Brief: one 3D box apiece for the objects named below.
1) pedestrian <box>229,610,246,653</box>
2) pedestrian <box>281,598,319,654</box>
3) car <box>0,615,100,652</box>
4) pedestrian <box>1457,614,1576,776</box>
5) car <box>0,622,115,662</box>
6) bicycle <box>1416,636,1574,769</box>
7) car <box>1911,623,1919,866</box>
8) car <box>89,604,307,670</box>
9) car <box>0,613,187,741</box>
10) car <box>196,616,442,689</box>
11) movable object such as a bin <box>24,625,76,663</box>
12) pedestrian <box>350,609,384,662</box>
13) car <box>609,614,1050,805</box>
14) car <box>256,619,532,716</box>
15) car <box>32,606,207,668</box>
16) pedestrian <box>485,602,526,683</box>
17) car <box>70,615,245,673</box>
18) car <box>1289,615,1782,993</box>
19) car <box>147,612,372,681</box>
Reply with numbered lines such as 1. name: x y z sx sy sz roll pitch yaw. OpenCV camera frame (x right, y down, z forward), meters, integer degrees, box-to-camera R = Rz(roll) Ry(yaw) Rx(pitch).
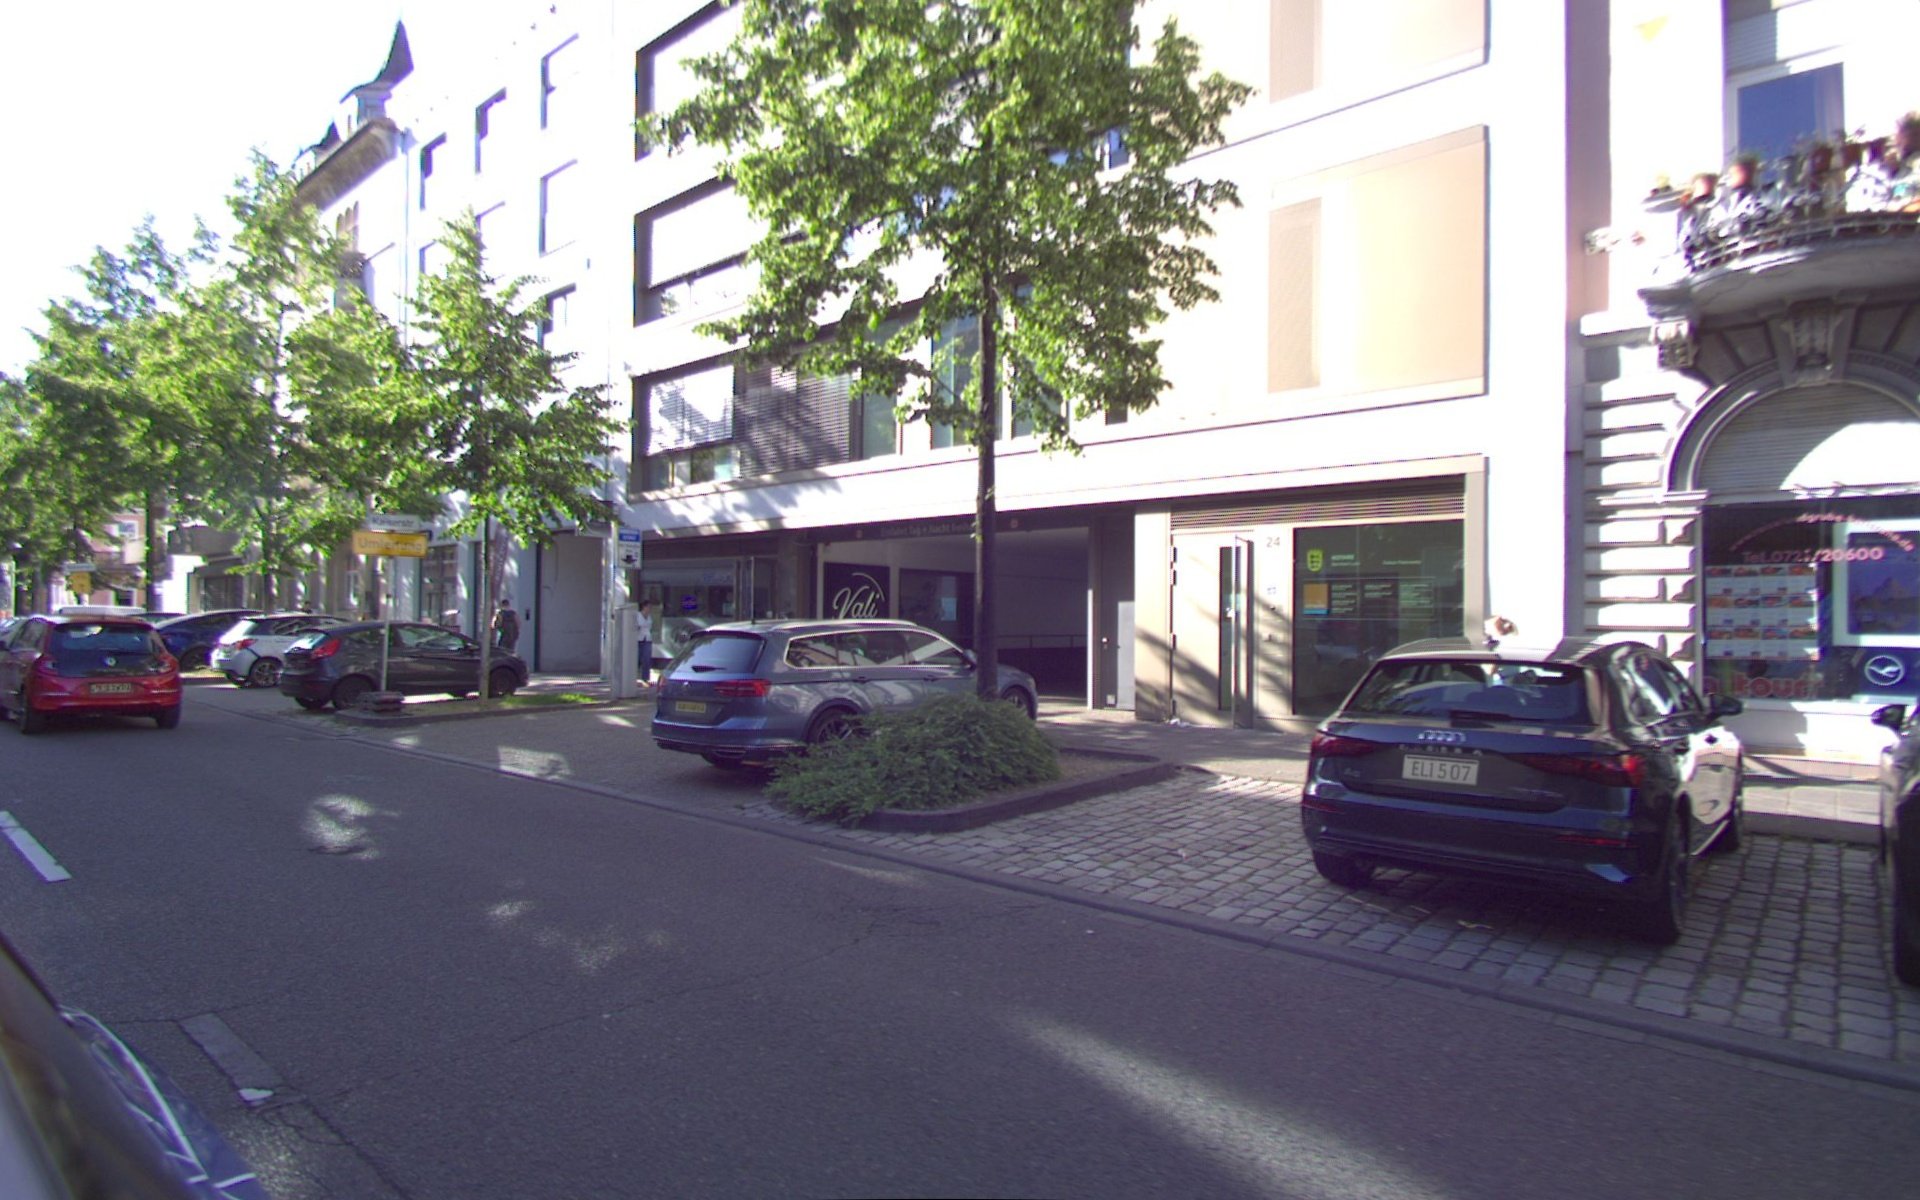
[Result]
1. pedestrian: -28.653 1.259 40.115 0.639 1.684 0.429 -1 -1 43
2. pedestrian: -21.743 0.838 33.345 0.762 1.779 0.767 -1 2 39
3. car: -40.751 1.472 44.749 1.747 1.475 3.957 1 1 40
4. pedestrian: 5.146 0.844 9.374 0.502 1.419 0.825 0 -2 -45
5. car: -36.591 1.653 40.697 1.708 1.475 3.742 -1 -1 38
6. bicycle: 5.290 0.977 10.052 1.298 1.201 0.451 -1 0 44
7. car: 5.496 0.835 4.460 1.789 1.439 3.800 -1 -1 42
8. car: -20.054 0.944 26.779 1.945 1.582 4.321 -1 -2 41
9. car: -12.338 1.005 14.180 3.758 1.547 1.641 -1 -4 41
10. car: -14.137 1.105 22.529 1.977 1.470 4.206 -1 -2 37
11. movable object such as a bin: -32.244 1.552 35.871 0.869 1.312 1.225 -1 -2 40
12. pedestrian: -17.203 1.021 29.357 0.842 1.505 0.586 -1 0 42
13. car: -1.109 0.918 10.424 1.789 1.470 4.446 -1 0 41
14. car: -9.586 1.072 17.372 1.778 1.470 3.744 -1 -2 37
15. car: -26.870 1.136 32.443 2.037 1.850 4.063 -1 -1 41
16. pedestrian: -10.489 0.968 23.347 0.690 1.811 0.747 1 -2 -38
17. car: -23.497 1.247 29.732 1.791 1.570 3.760 -1 -2 41
18. car: 3.650 0.842 6.066 1.770 1.497 3.877 -1 -1 42
19. car: -17.550 1.124 25.521 1.979 1.582 4.321 -1 -2 41
